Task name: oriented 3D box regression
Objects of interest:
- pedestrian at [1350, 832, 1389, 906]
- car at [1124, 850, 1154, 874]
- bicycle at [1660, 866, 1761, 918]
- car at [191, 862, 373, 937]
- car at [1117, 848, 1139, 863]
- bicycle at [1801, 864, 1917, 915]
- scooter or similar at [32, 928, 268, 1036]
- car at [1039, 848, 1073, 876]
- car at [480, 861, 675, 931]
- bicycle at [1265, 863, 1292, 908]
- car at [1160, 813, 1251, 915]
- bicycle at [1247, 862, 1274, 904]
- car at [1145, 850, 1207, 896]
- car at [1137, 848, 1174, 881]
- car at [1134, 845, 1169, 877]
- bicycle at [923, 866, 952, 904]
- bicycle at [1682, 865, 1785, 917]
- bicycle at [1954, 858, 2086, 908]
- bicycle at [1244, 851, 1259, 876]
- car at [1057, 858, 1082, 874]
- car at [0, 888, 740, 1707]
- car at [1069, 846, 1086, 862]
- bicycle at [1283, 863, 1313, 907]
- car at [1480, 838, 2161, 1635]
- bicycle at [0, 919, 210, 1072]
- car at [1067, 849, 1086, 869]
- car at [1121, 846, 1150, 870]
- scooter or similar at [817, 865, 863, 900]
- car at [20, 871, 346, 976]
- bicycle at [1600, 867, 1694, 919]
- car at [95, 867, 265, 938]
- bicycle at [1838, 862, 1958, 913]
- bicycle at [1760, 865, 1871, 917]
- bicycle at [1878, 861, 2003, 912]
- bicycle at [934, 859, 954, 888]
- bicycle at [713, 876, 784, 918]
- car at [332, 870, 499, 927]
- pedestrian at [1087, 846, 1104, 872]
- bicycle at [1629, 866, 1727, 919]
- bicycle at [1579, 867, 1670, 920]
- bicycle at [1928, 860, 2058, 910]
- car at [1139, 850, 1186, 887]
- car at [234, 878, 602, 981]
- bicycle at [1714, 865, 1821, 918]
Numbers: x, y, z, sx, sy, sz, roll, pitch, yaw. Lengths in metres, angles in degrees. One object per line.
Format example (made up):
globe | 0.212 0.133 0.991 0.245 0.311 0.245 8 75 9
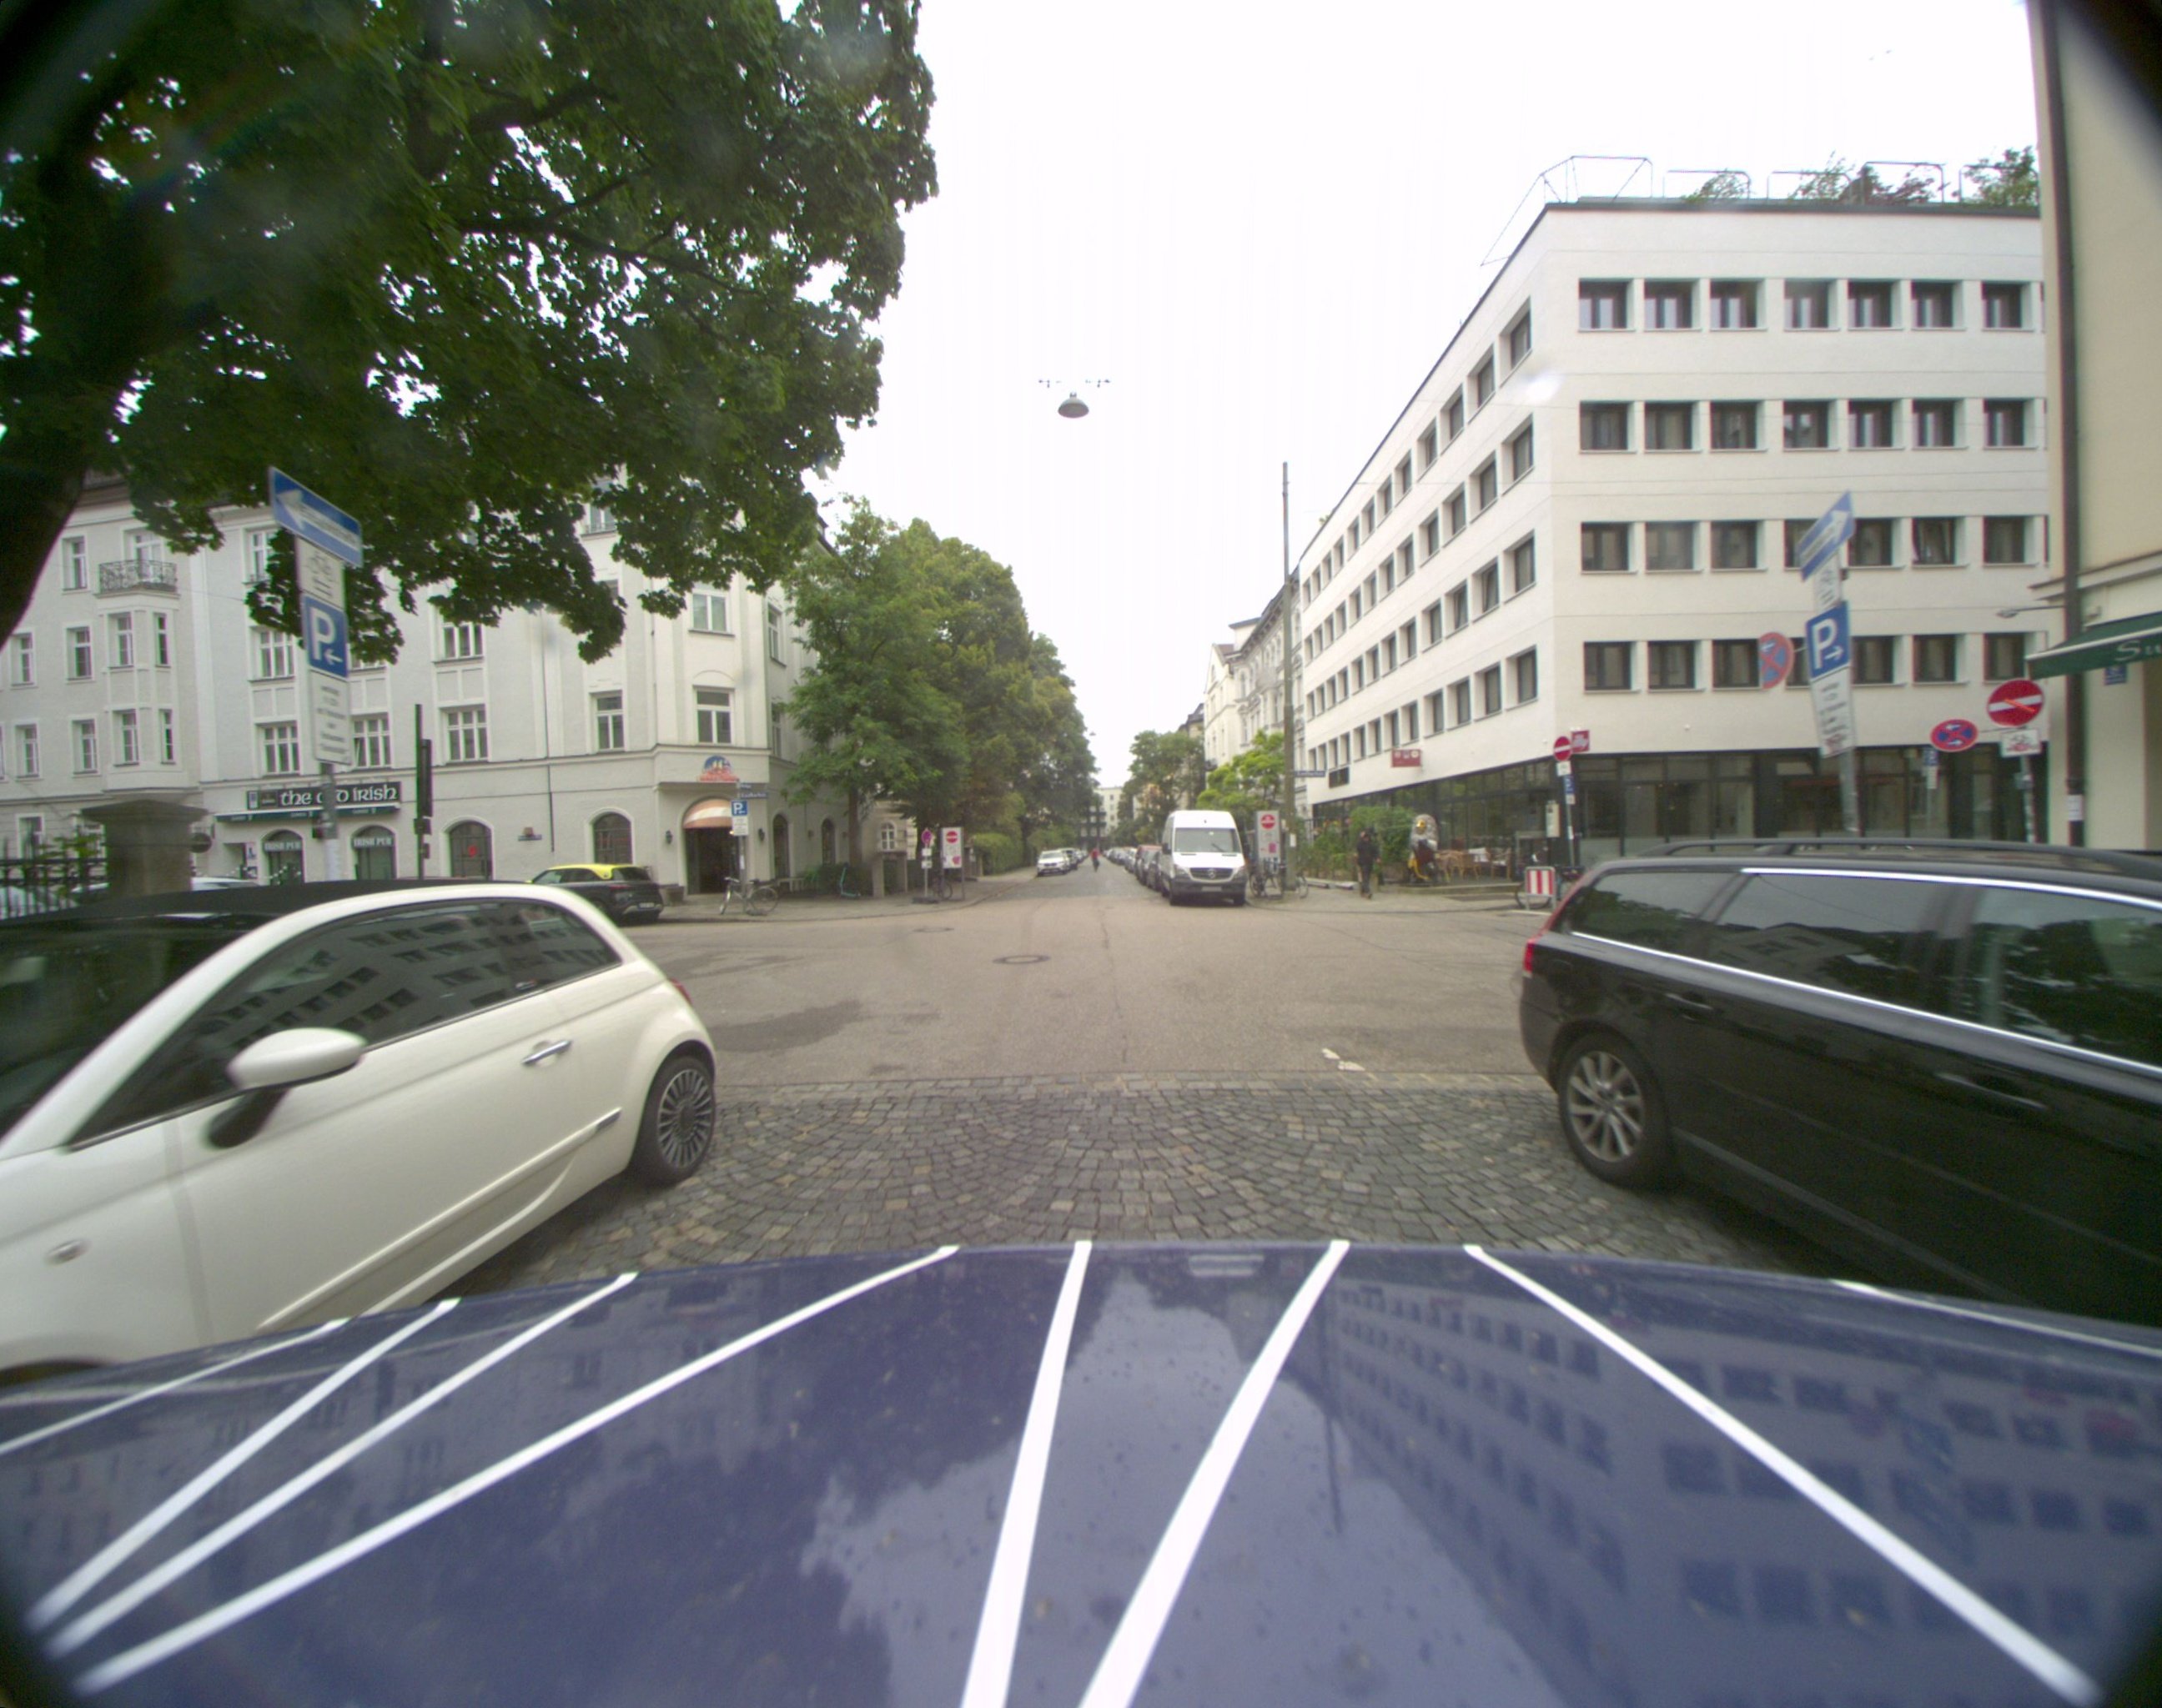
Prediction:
pedestrian | 7.354 0.374 19.398 0.615 1.830 0.813 -2 1 -5
car | 3.768 0.489 49.679 1.635 1.386 3.815 -2 1 0
bicycle | 13.037 0.754 15.808 0.398 0.963 1.893 -2 1 -4
car | -23.188 1.298 22.108 3.925 1.958 1.776 -2 1 12
car | 4.711 0.155 76.732 1.886 1.411 4.808 -1 1 1
bicycle | 16.361 0.720 16.054 0.398 0.963 1.893 -2 1 -4
scooter or similar | -8.794 1.186 7.222 1.185 0.843 0.925 -2 1 11
car | -1.669 0.521 51.615 1.925 1.676 4.633 -2 1 2
car | -12.979 1.064 19.653 4.080 1.588 1.907 -2 1 15
bicycle | 5.410 0.832 20.834 0.256 1.120 1.806 -2 1 1
car | 3.425 0.202 22.029 1.981 2.559 5.794 0 1 3
bicycle | 4.945 0.773 21.027 0.286 1.085 1.815 -2 1 0
car | 3.362 0.622 27.628 1.666 1.474 3.981 -2 1 -1
car | 3.725 0.481 38.008 1.697 1.495 3.778 -2 1 5
car | 3.969 0.371 43.458 1.722 1.713 3.898 0 1 1
bicycle | -4.656 0.985 24.767 0.389 1.140 1.590 -1 1 8
bicycle | 13.548 0.745 15.851 0.398 0.963 1.893 -2 1 -4
bicycle | 20.073 0.590 16.306 0.398 0.963 1.893 -2 1 -4
bicycle | 8.273 0.445 36.859 0.361 1.168 1.911 -2 1 4
car | -0.981 0.966 63.448 1.924 1.290 4.808 0 -1 -2
car | -2.718 0.966 2.274 1.505 1.462 3.795 -1 1 2
car | -0.422 -0.046 102.727 1.998 2.002 4.000 -2 1 2
bicycle | 5.927 0.831 20.821 0.286 1.085 1.815 -2 1 0
car | 3.111 0.776 1.739 1.857 1.577 4.747 -2 1 0
bicycle | -8.245 1.121 6.236 1.841 1.117 0.563 -1 1 11
car | -0.415 0.457 75.890 1.818 1.809 4.808 -2 1 0
car | 3.870 0.255 54.132 1.694 1.563 4.067 -2 1 0
scooter or similar | -8.231 0.951 25.917 1.604 1.166 0.405 0 2 25
car | -14.927 1.128 12.734 3.894 1.512 1.566 -2 1 7
bicycle | 11.639 0.773 15.700 0.398 0.963 1.893 -2 1 -4
car | -27.118 1.438 22.908 3.654 1.924 1.732 -2 1 13
bicycle | 17.235 0.687 16.091 0.398 0.963 1.893 -2 1 -4
bicycle | 15.387 0.740 15.988 0.398 0.963 1.893 -2 1 -4
bicycle | 18.180 0.665 16.133 0.398 0.963 1.893 -2 1 -4
bicycle | -6.063 0.861 33.679 0.428 1.191 1.730 3 1 2
bicycle | -9.183 1.176 21.016 1.604 1.064 0.738 0 5 4
car | -18.568 1.231 21.268 3.534 1.417 1.702 -2 1 13
pedestrian | 1.025 0.352 53.779 1.105 1.768 1.263 -2 1 2
bicycle | 12.317 0.763 15.745 0.398 0.963 1.893 -2 1 -4
bicycle | 11.161 0.789 15.677 0.398 0.963 1.893 -2 1 -4
bicycle | 19.406 0.638 16.234 0.398 0.963 1.893 -2 1 -4
car | 3.477 0.586 33.106 1.730 1.456 4.473 1 1 2
car | -10.109 1.123 11.733 4.475 1.350 1.761 -1 1 9
bicycle | 14.312 0.752 15.909 0.398 0.963 1.893 -2 1 -4
